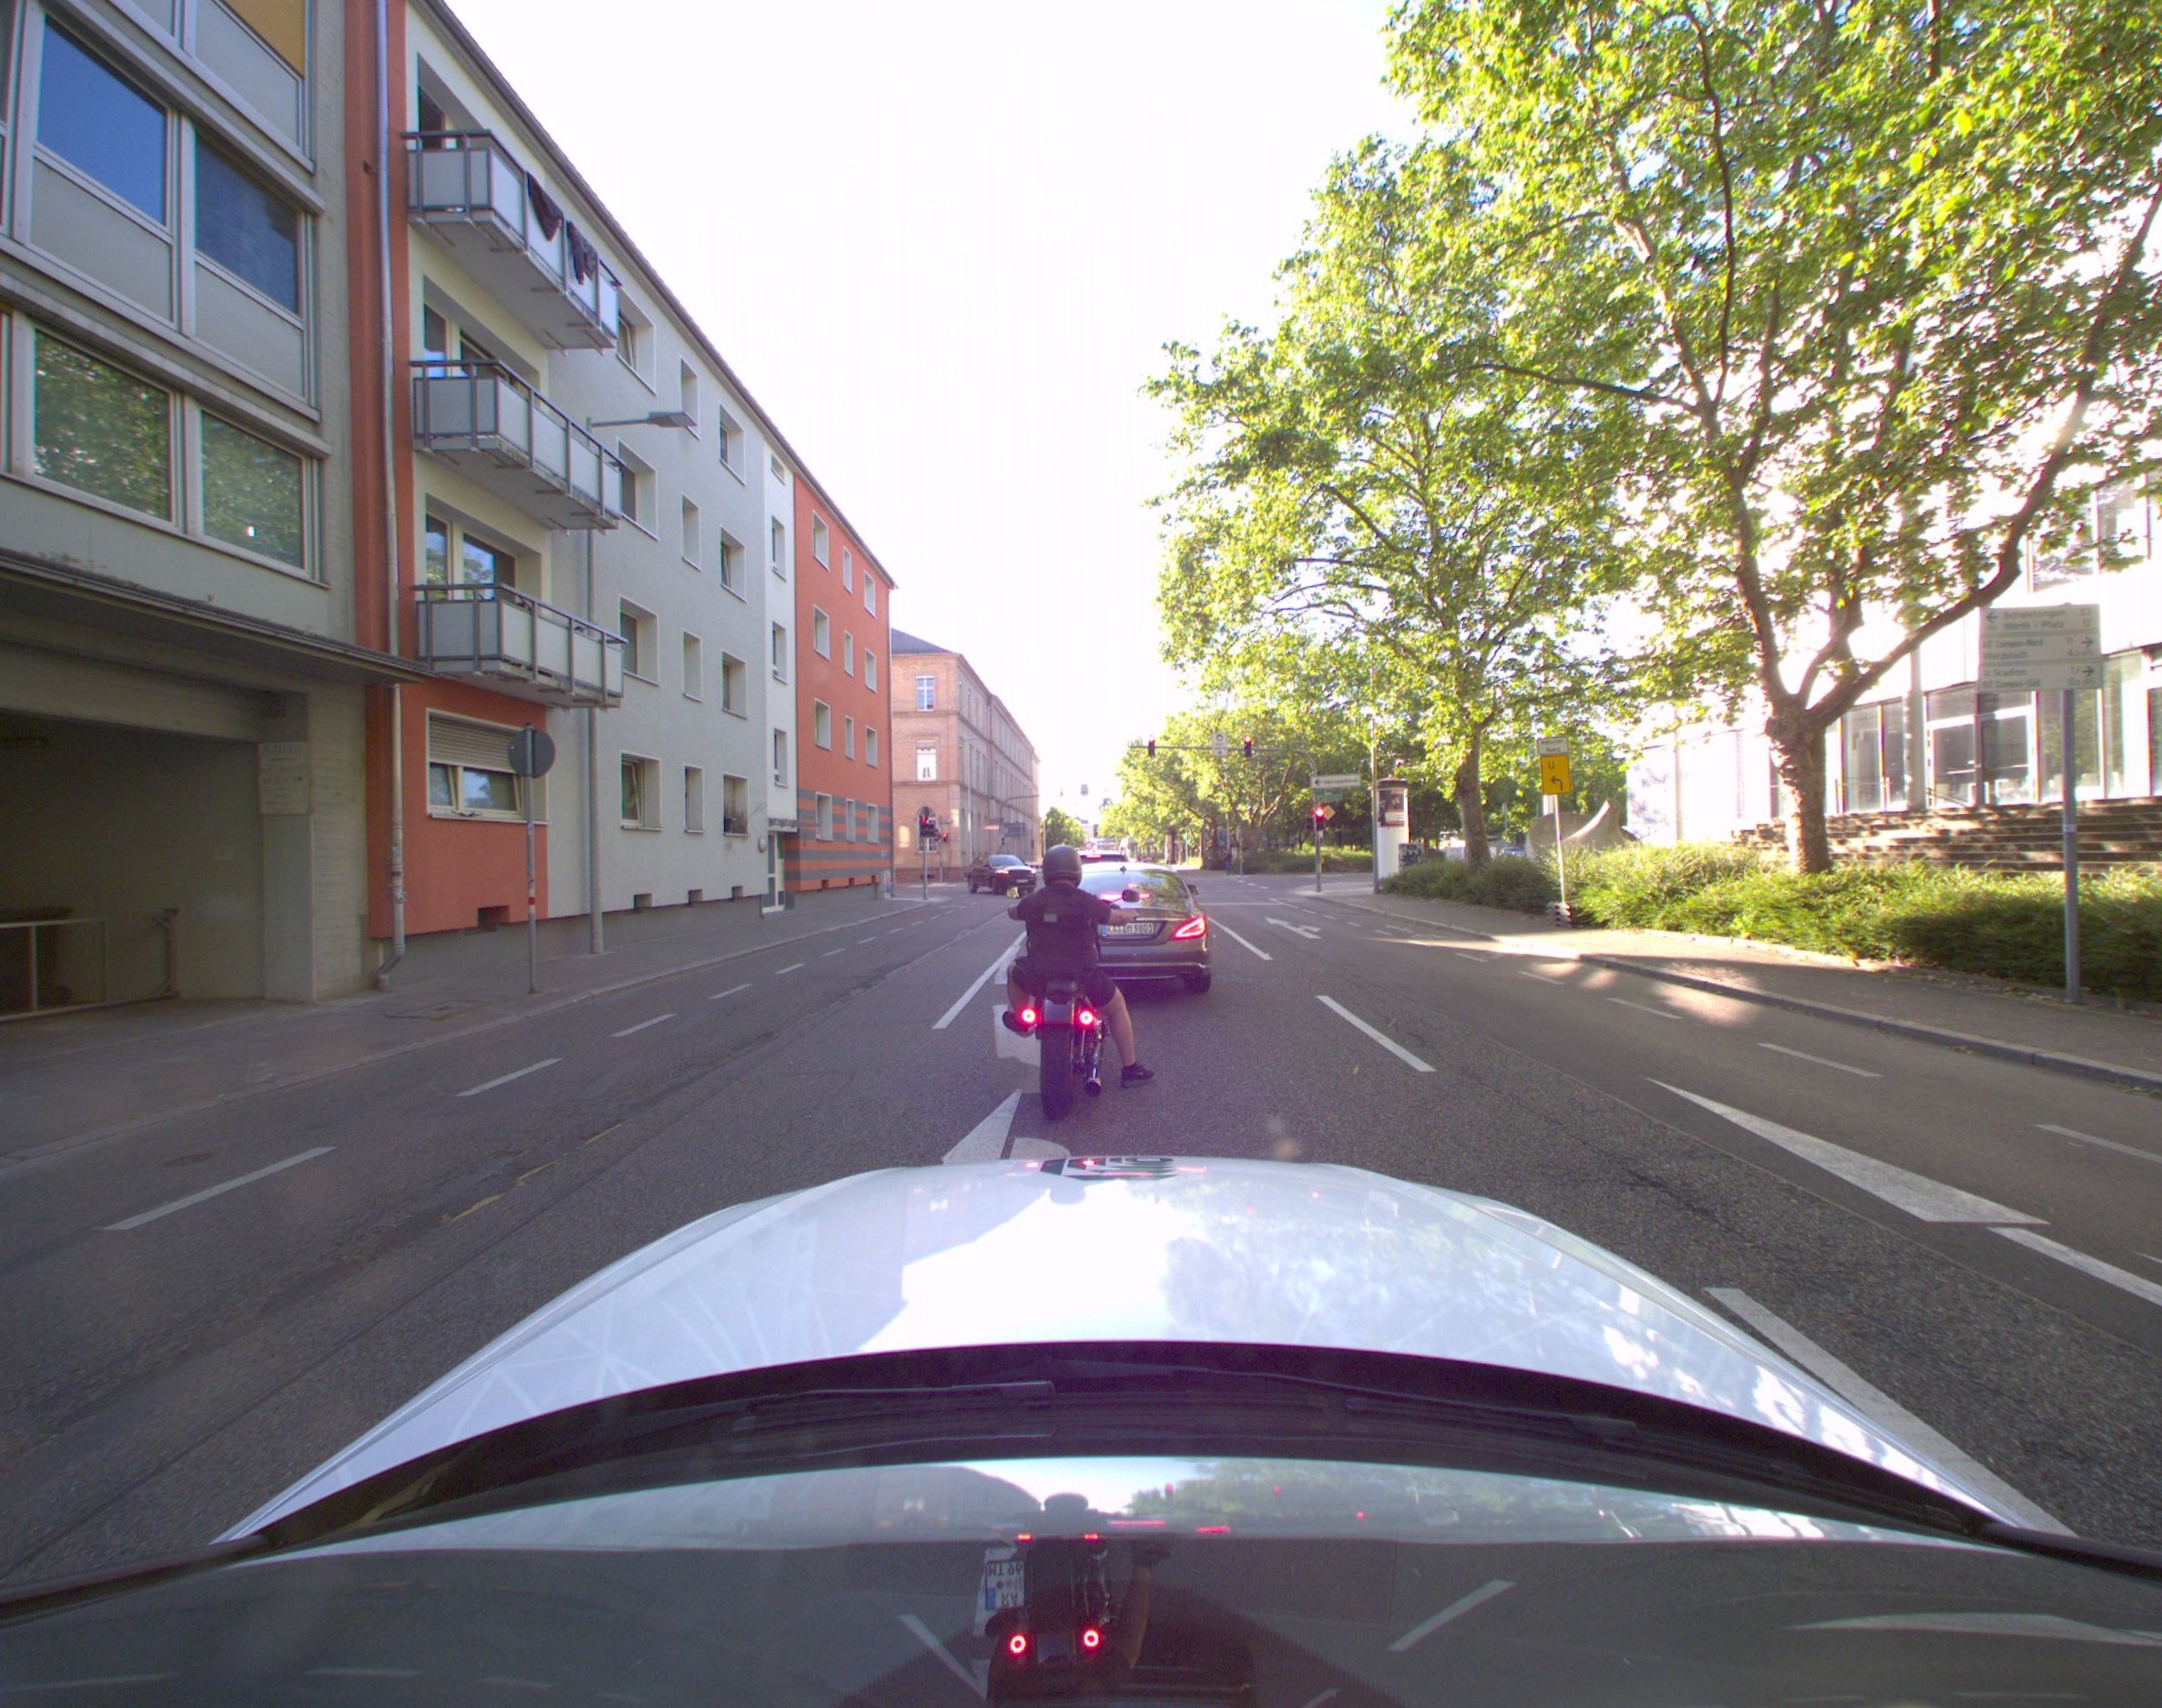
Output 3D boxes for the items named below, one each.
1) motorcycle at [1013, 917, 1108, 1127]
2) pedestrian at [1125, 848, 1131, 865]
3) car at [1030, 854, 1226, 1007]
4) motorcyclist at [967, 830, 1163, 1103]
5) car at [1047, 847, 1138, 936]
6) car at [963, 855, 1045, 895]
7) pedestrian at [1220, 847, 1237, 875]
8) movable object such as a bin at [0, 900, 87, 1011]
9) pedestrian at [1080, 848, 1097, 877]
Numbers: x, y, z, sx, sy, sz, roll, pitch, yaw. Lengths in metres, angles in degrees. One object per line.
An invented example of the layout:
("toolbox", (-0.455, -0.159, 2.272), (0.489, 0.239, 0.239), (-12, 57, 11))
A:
("motorcycle", (-0.080, 1.000, 5.473), (0.511, 1.002, 2.014), (0, -1, 2))
("pedestrian", (5.789, 0.278, 100.968), (0.761, 2.051, 0.712), (0, -1, 1))
("car", (0.513, 0.735, 9.733), (1.875, 1.449, 3.821), (0, 0, 2))
("motorcyclist", (-0.076, 0.667, 5.435), (1.145, 1.598, 1.288), (0, -1, 1))
("car", (0.272, 0.688, 16.861), (1.615, 1.594, 4.002), (-1, 0, 2))
("car", (-3.317, 0.844, 34.287), (1.861, 1.570, 4.343), (0, -1, -30))
("pedestrian", (10.189, 0.456, 56.377), (0.753, 1.910, 0.918), (0, -1, -26))
("movable object such as a bin", (-11.261, 1.054, 8.637), (0.626, 1.100, 0.659), (0, -1, 4))
("pedestrian", (0.483, 0.533, 52.139), (0.996, 1.826, 1.078), (0, -1, 8))
